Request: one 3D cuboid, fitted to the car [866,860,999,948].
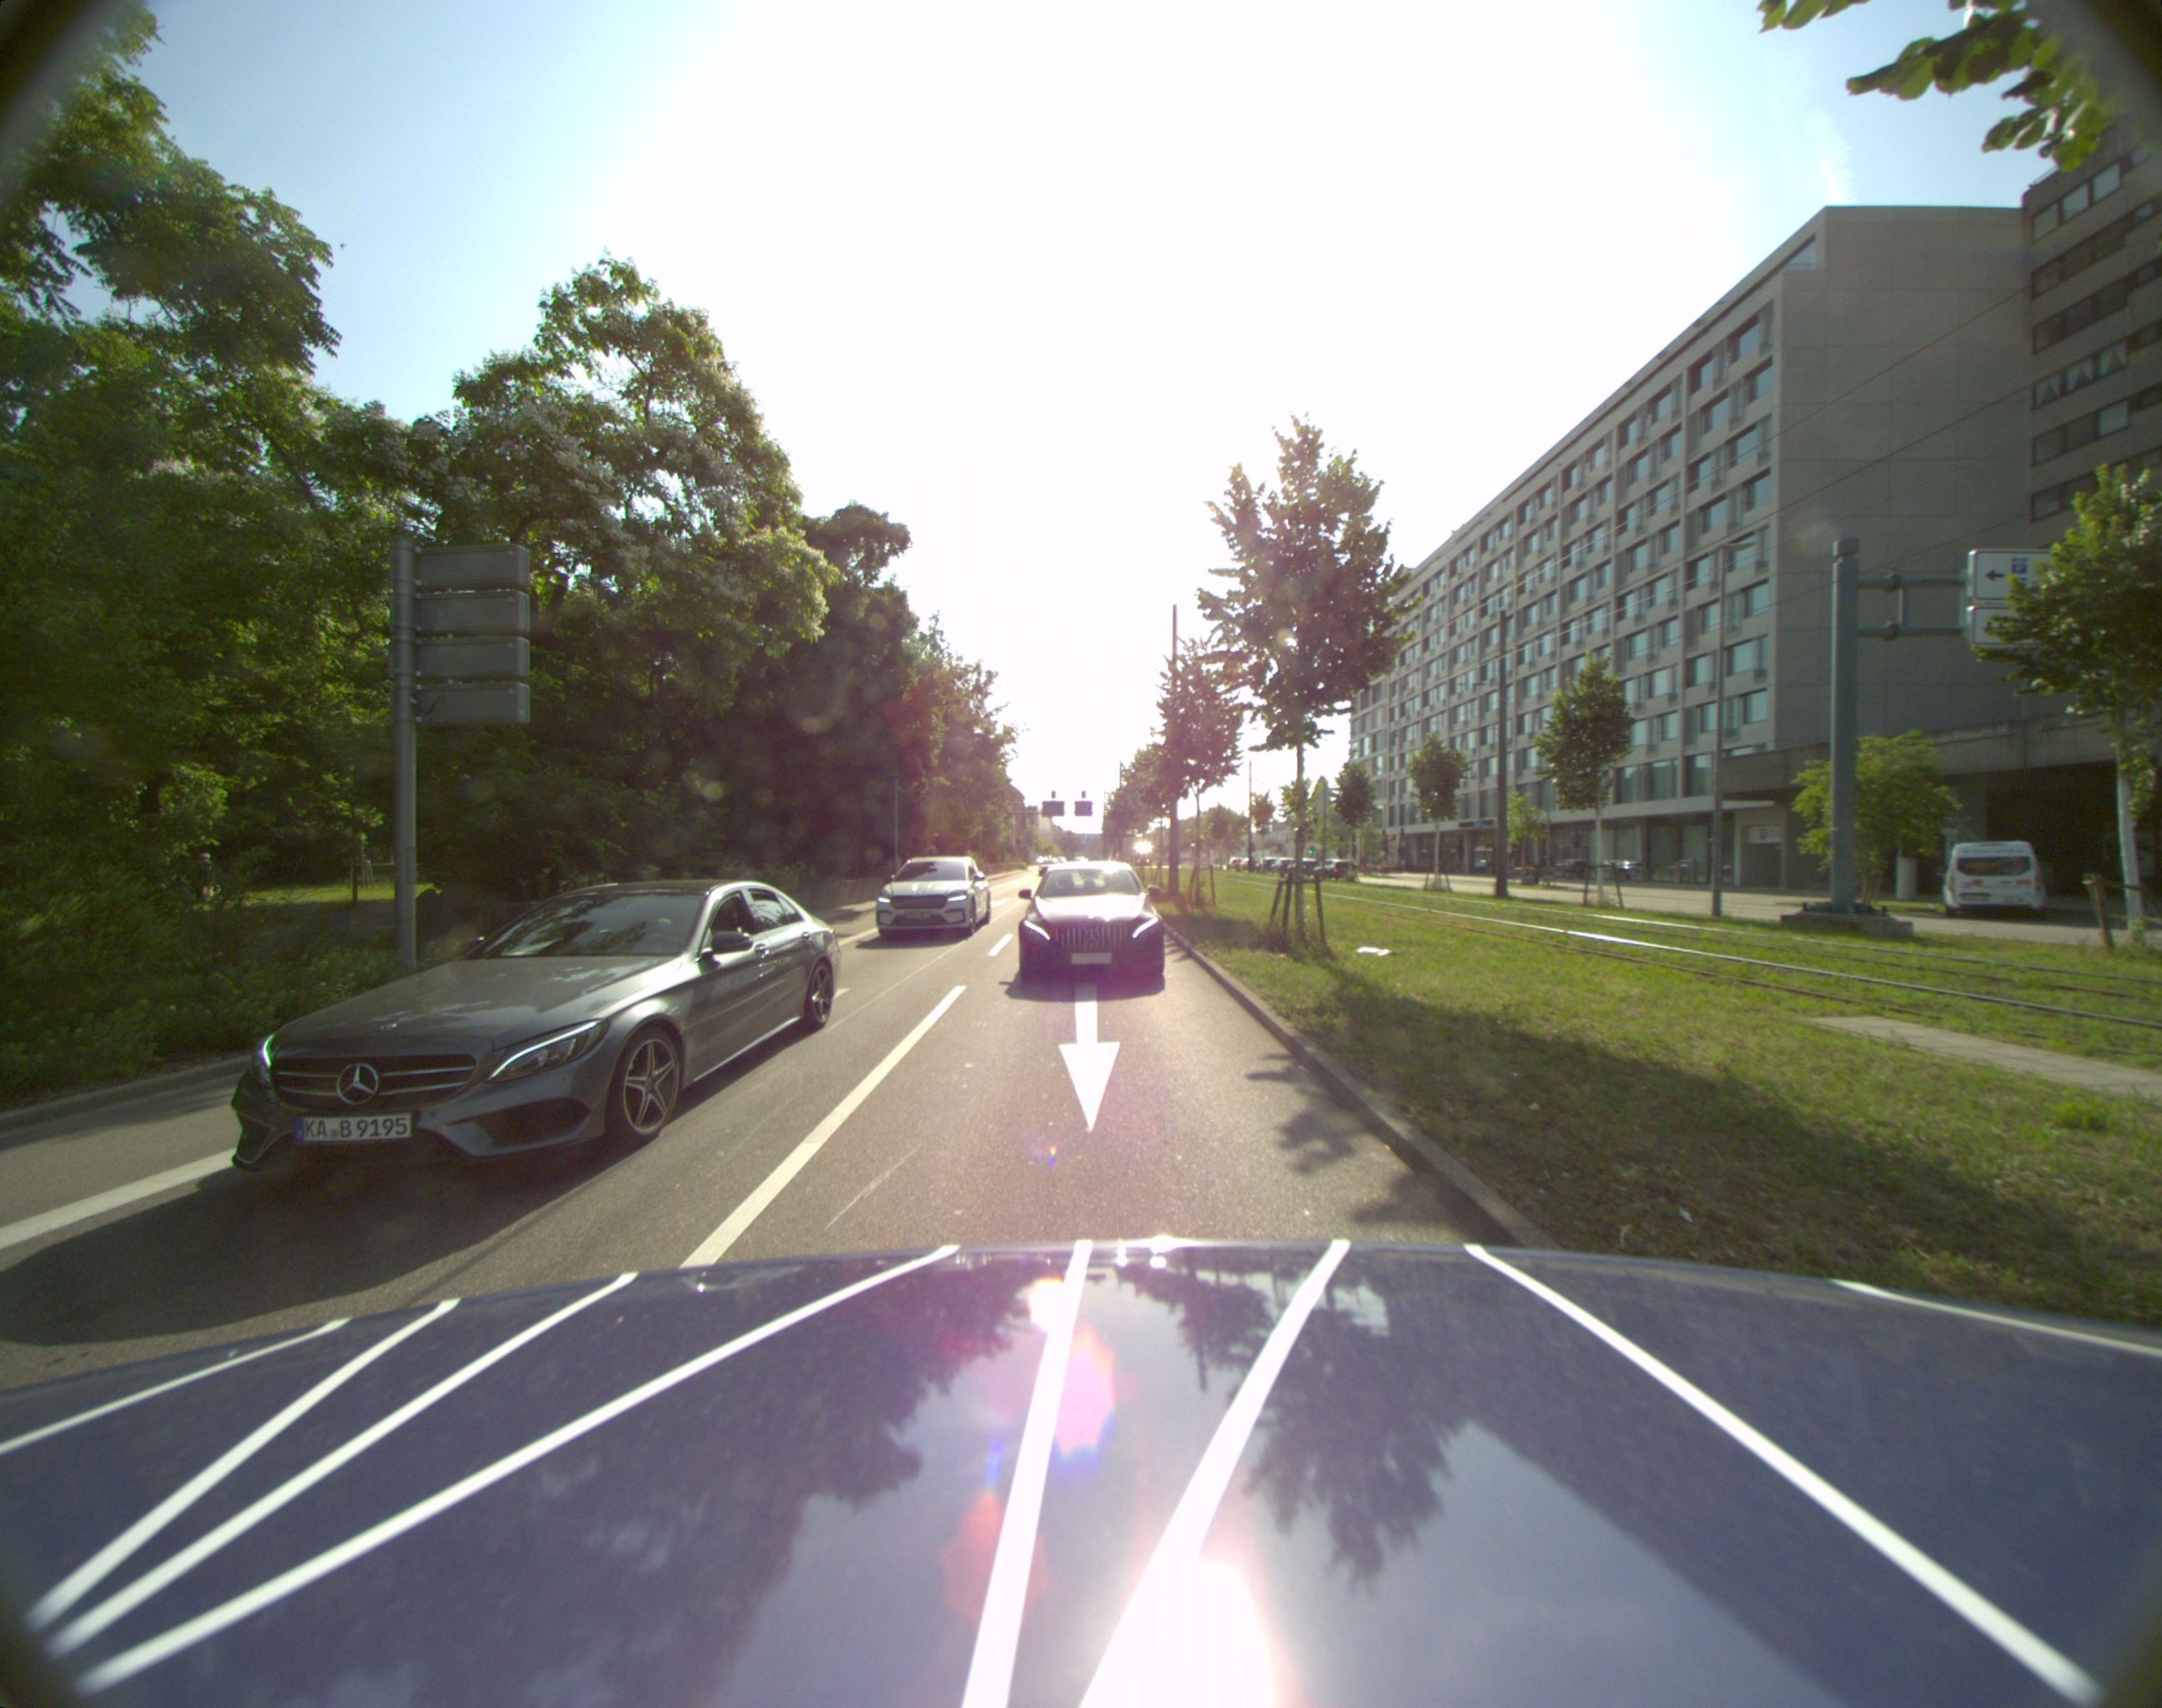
[{"bbox_3d":[-2.999,0.946,16.251,1.897,1.561,4.250,-1,0,1],"label":"car"}]

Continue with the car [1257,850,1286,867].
[{"bbox_3d":[17.792,0.399,71.128,1.811,1.565,4.001,0,0,3],"label":"car"}]

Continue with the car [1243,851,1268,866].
[{"bbox_3d":[17.830,0.477,77.852,1.811,1.466,4.001,0,0,3],"label":"car"}]

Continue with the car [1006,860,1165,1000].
[{"bbox_3d":[0.093,0.886,10.966,1.759,1.437,4.617,-2,1,1],"label":"car"}]

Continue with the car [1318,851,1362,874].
[{"bbox_3d":[17.531,0.555,51.563,1.811,1.472,4.001,0,0,3],"label":"car"}]

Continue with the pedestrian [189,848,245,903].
[{"bbox_3d":[-29.593,0.716,26.029,0.983,1.820,1.072,0,1,31],"label":"pedestrian"}]

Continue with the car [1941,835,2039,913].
[{"bbox_3d":[29.495,0.576,24.686,5.419,2.295,1.879,0,1,-40],"label":"car"}]

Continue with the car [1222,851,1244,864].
[{"bbox_3d":[17.576,0.362,88.083,1.787,1.516,4.000,0,0,1],"label":"car"}]

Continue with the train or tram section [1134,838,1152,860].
[{"bbox_3d":[9.653,-0.770,118.714,2.500,3.409,6.669,0,0,1],"label":"train or tram section"}]

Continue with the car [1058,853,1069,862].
[{"bbox_3d":[-3.327,0.659,146.478,1.904,1.584,4.000,0,0,1],"label":"car"}]

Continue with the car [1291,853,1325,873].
[{"bbox_3d":[17.645,0.706,59.269,1.745,1.478,3.642,0,0,3],"label":"car"}]

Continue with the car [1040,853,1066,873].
[{"bbox_3d":[-2.308,0.715,63.224,1.998,1.630,4.000,0,0,1],"label":"car"}]

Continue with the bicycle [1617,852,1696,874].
[{"bbox_3d":[37.166,0.580,49.110,3.994,1.358,1.127,0,1,10],"label":"bicycle"}]

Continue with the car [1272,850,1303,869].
[{"bbox_3d":[17.787,0.454,65.650,1.811,1.565,4.001,0,0,3],"label":"car"}]
